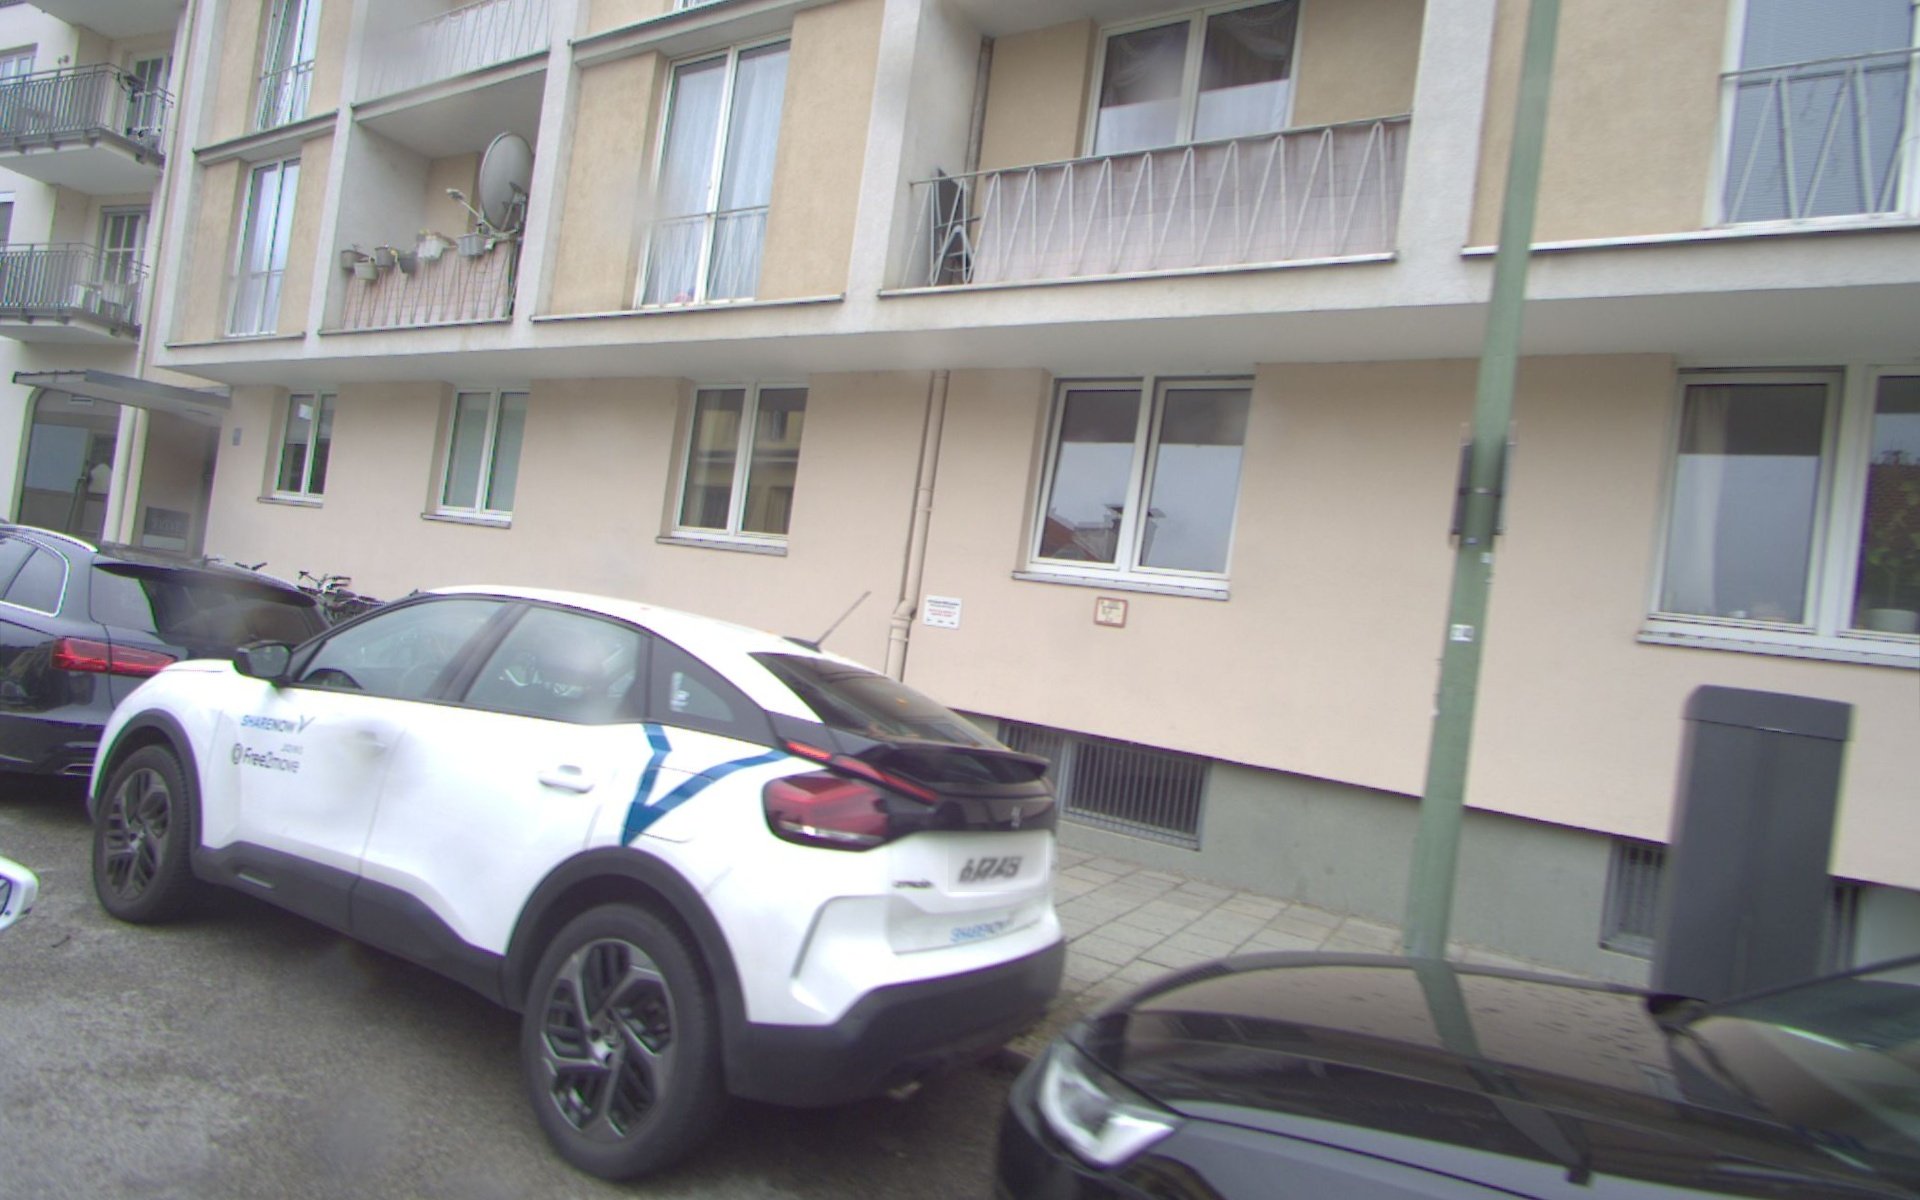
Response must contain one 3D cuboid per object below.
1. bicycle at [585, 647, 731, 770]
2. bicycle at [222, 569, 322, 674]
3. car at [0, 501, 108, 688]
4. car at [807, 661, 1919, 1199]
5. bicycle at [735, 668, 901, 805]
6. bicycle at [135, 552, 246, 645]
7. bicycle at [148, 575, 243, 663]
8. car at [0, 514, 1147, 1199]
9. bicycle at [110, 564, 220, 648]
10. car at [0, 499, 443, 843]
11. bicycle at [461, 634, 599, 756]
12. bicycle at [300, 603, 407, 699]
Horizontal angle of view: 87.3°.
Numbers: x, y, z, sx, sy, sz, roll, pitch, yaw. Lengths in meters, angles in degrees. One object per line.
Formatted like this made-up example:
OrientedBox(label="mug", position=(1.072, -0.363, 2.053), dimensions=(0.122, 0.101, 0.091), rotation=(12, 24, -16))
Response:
OrientedBox(label="bicycle", position=(-2.807, 0.983, 9.304), dimensions=(1.369, 0.915, 0.378), rotation=(7, -1, 32))
OrientedBox(label="bicycle", position=(-8.503, 0.255, 12.422), dimensions=(1.369, 1.132, 0.378), rotation=(7, -1, 32))
OrientedBox(label="car", position=(-10.370, -0.341, 9.395), dimensions=(4.565, 1.549, 1.794), rotation=(7, -5, 26))
OrientedBox(label="car", position=(2.281, 1.169, 1.382), dimensions=(4.869, 1.403, 1.751), rotation=(7, -4, 29))
OrientedBox(label="bicycle", position=(-1.227, 1.133, 8.562), dimensions=(1.369, 0.915, 0.378), rotation=(7, -1, 32))
OrientedBox(label="bicycle", position=(-11.112, -0.031, 14.508), dimensions=(1.822, 1.123, 0.456), rotation=(7, -1, 28))
OrientedBox(label="bicycle", position=(-9.494, 0.226, 12.479), dimensions=(1.369, 0.915, 0.378), rotation=(7, -1, 32))
OrientedBox(label="car", position=(-1.759, 0.712, 4.053), dimensions=(4.501, 1.504, 1.700), rotation=(7, -4, 29))
OrientedBox(label="bicycle", position=(-10.872, 0.074, 13.743), dimensions=(1.706, 0.934, 0.456), rotation=(7, -1, 28))
OrientedBox(label="car", position=(-5.932, 0.231, 6.671), dimensions=(5.077, 1.537, 1.887), rotation=(7, -5, 31))
OrientedBox(label="bicycle", position=(-4.016, 0.864, 9.368), dimensions=(1.369, 0.916, 0.378), rotation=(7, 0, 32))
OrientedBox(label="bicycle", position=(-6.952, 0.574, 11.516), dimensions=(1.369, 0.915, 0.378), rotation=(7, -1, 32))
